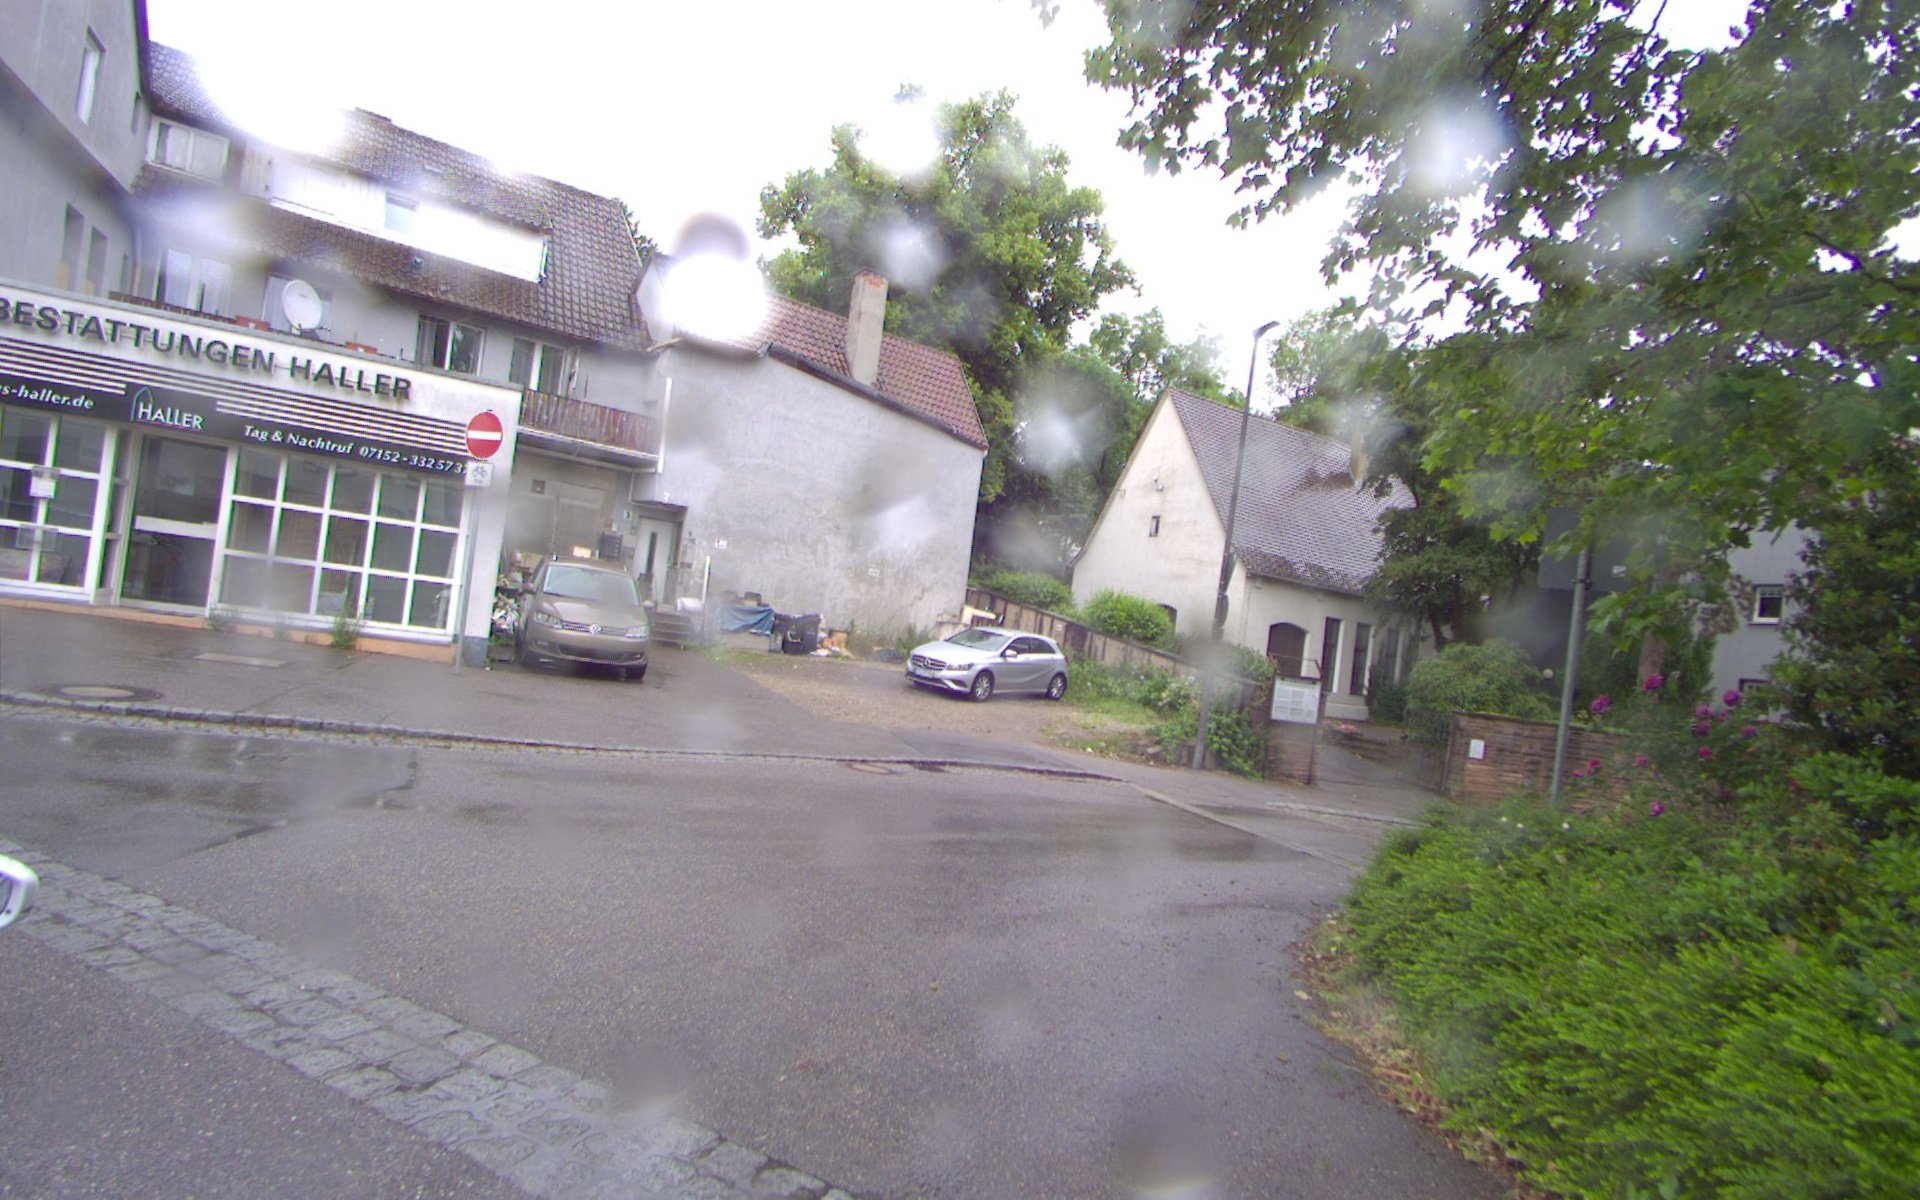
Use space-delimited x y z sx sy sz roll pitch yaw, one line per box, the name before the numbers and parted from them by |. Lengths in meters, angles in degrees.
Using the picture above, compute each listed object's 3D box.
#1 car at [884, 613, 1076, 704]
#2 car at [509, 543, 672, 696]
car | 0.510 1.283 21.307 1.806 1.493 3.982 10 2 40
car | -6.038 0.208 16.163 1.976 1.794 3.973 9 2 -24
